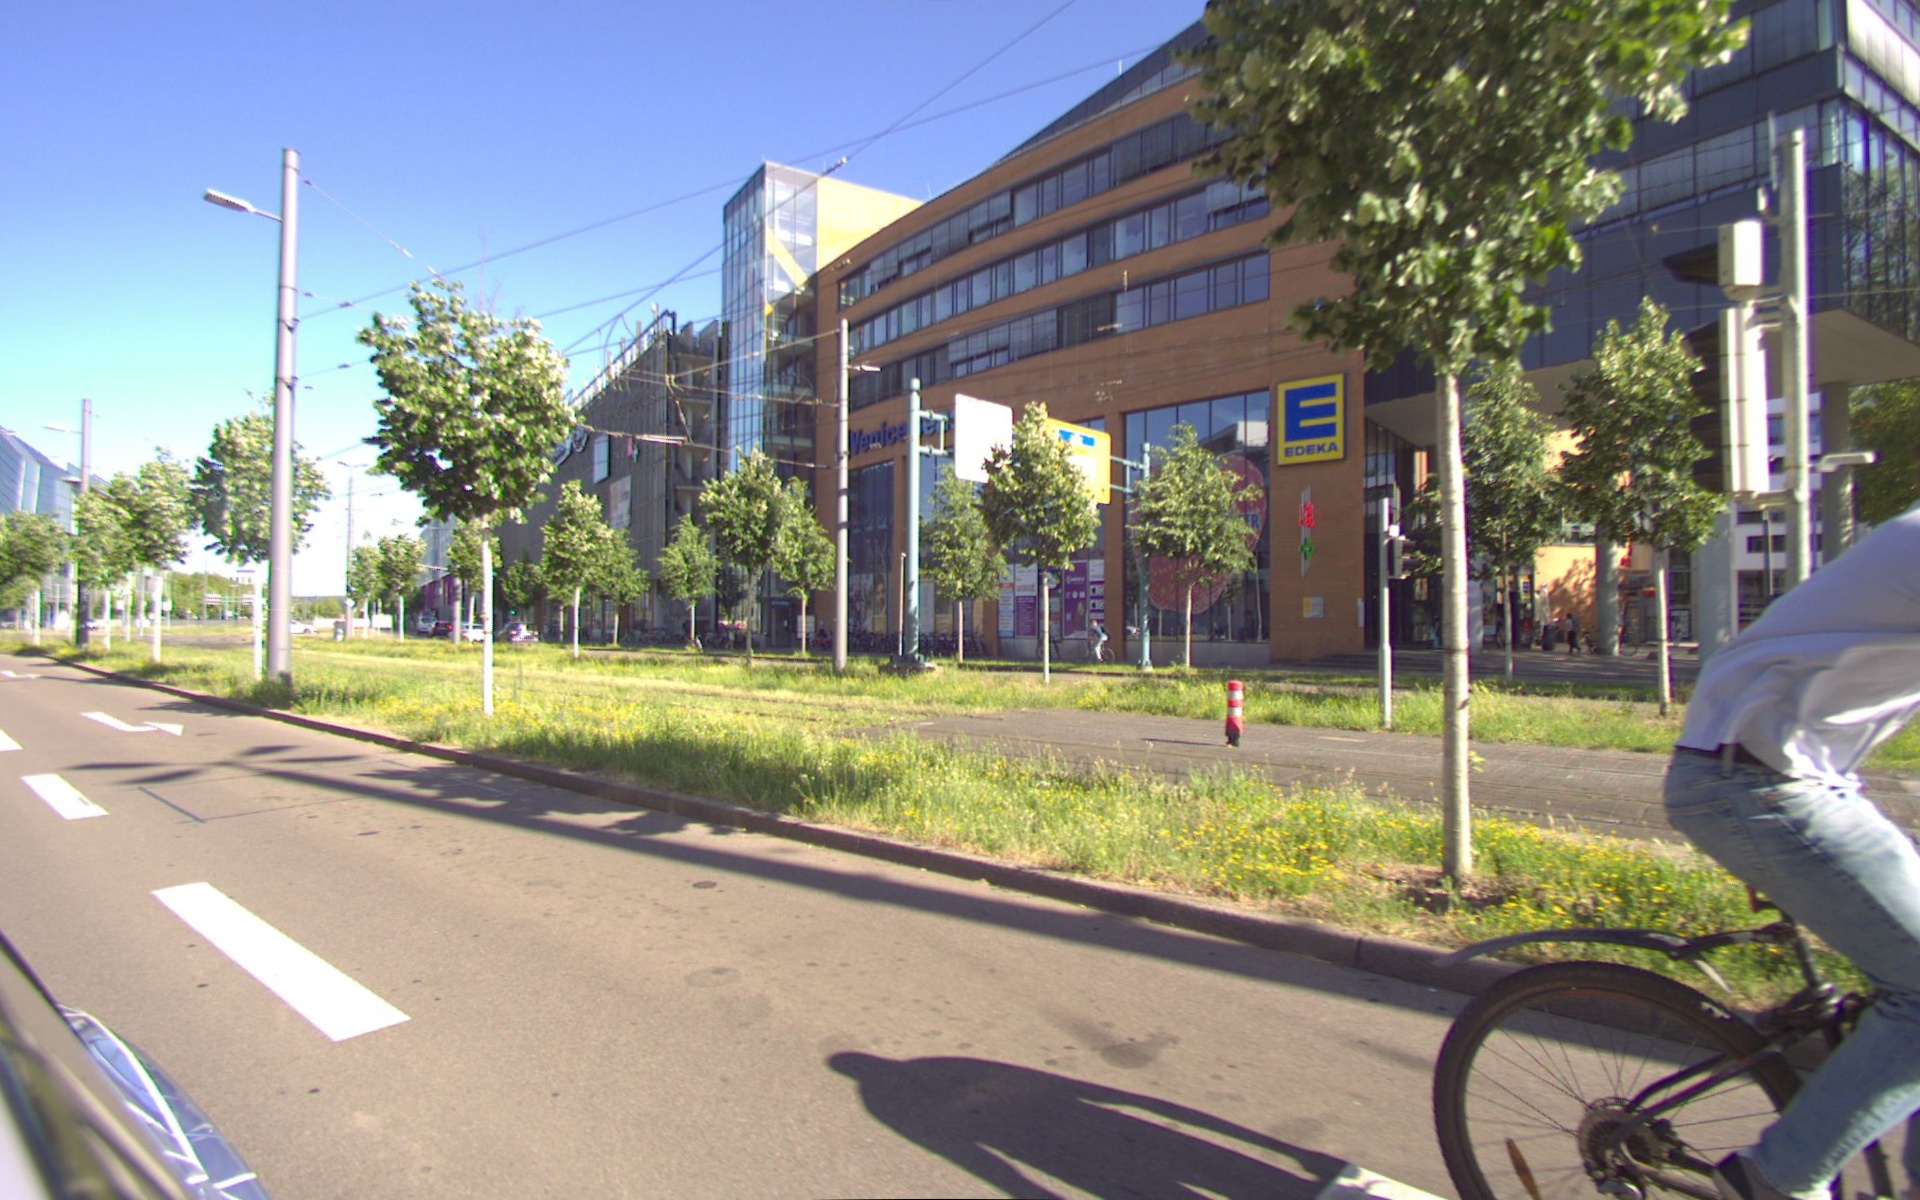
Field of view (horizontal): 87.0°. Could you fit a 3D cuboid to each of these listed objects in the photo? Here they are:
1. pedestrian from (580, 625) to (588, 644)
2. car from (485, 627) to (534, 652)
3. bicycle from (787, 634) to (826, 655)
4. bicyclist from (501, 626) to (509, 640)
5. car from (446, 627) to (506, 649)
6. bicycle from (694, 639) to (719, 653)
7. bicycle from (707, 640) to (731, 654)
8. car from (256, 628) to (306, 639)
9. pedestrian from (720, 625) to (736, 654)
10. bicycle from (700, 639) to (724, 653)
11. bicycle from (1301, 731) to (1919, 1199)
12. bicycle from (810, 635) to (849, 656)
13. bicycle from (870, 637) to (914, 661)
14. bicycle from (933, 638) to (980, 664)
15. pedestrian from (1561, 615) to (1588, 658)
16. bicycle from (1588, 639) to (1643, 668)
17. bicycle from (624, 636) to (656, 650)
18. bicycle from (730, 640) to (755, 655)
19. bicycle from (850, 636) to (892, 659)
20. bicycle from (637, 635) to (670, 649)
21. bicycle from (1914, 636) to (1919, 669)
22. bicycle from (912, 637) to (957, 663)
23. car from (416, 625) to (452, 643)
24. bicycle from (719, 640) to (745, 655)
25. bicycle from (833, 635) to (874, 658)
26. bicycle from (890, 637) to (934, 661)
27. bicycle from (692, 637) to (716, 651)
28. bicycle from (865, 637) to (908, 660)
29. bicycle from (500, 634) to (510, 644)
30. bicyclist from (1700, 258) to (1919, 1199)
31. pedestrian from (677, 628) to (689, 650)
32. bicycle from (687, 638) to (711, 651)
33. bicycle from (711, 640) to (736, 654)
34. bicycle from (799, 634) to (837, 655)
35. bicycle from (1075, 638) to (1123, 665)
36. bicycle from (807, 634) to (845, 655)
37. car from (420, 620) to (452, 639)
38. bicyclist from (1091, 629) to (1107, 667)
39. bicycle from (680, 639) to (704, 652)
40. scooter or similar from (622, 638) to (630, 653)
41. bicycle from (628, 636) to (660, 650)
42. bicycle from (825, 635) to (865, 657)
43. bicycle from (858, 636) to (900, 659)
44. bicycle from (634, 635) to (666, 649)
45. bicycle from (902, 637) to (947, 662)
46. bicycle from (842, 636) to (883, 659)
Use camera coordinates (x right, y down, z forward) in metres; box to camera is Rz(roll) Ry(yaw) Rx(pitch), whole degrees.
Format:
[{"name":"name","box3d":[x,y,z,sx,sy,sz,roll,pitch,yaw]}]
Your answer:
[{"name":"pedestrian","box3d":[-30.814,2.846,82.938,0.483,1.530,0.651,1,-2,-29]},{"name":"car","box3d":[-25.572,2.233,57.386,3.297,1.370,1.412,-1,-2,44]},{"name":"bicycle","box3d":[-9.070,2.618,59.820,2.145,1.132,0.754,0,-1,-39]},{"name":"bicyclist","box3d":[-48.650,3.524,108.090,0.584,1.418,1.316,1,-2,-32]},{"name":"car","box3d":[-31.216,2.446,65.226,4.792,1.344,1.971,-1,-2,44]},{"name":"bicycle","box3d":[-15.993,2.895,63.865,1.428,0.825,0.446,0,-1,-39]},{"name":"bicycle","box3d":[-14.812,2.881,62.205,1.428,0.825,0.446,0,-1,-39]},{"name":"car","box3d":[-67.127,3.298,100.093,3.931,1.098,2.006,1,-2,-27]},{"name":"pedestrian","box3d":[-13.576,2.321,59.152,0.778,1.698,0.589,-1,-2,43]},{"name":"bicycle","box3d":[-15.459,2.874,63.126,1.428,0.825,0.446,0,-1,-39]},{"name":"bicycle","box3d":[1.983,0.873,1.575,2.697,1.078,0.679,-1,-1,43]},{"name":"bicycle","box3d":[-7.367,2.566,57.216,2.145,1.132,0.754,0,-1,-39]},{"name":"bicycle","box3d":[-3.432,2.457,51.026,2.145,1.132,0.754,0,-1,-39]},{"name":"bicycle","box3d":[-0.152,2.359,47.052,2.145,1.132,0.754,0,-1,-39]},{"name":"pedestrian","box3d":[23.649,1.404,38.944,0.788,1.636,0.501,1,-1,42]},{"name":"bicycle","box3d":[26.622,2.148,41.106,1.802,1.143,0.487,-1,-2,41]},{"name":"bicycle","box3d":[-22.986,3.080,72.687,2.145,0.962,0.494,0,-1,-39]},{"name":"bicycle","box3d":[-12.991,2.826,60.452,1.428,0.825,0.446,0,-1,-39]},{"name":"bicycle","box3d":[-4.690,2.504,53.444,2.145,1.132,0.754,0,-1,-39]},{"name":"bicycle","box3d":[-21.567,2.955,71.222,2.145,0.962,0.494,0,-1,-39]},{"name":"bicycle","box3d":[39.629,2.159,41.222,0.463,1.363,2.349,-1,-2,27]},{"name":"bicycle","box3d":[-1.221,2.383,48.533,2.145,1.132,0.754,0,-1,-39]},{"name":"car","box3d":[-50.435,3.259,97.025,1.970,1.694,4.543,2,-2,-43]},{"name":"bicycle","box3d":[-13.746,2.845,61.034,1.428,0.825,0.446,0,-1,-39]},{"name":"bicycle","box3d":[-5.808,2.518,55.065,2.145,1.132,0.754,0,-1,-39]},{"name":"bicycle","box3d":[-2.351,2.417,50.148,2.145,1.132,0.754,0,-1,-39]},{"name":"bicycle","box3d":[-16.514,2.842,65.217,1.428,0.825,0.446,0,-1,-39]},{"name":"bicycle","box3d":[-3.781,2.471,51.854,2.145,1.132,0.754,0,-1,-39]},{"name":"bicycle","box3d":[-48.677,4.135,108.174,0.588,1.018,2.576,1,-2,-32]},{"name":"bicyclist","box3d":[1.887,0.300,1.645,1.019,1.682,0.611,-1,-1,42]},{"name":"pedestrian","box3d":[-19.446,2.749,71.051,0.626,1.565,0.664,1,-2,-27]},{"name":"bicycle","box3d":[-16.893,2.889,65.553,1.428,0.825,0.446,0,-1,-39]},{"name":"bicycle","box3d":[-14.404,2.872,61.735,1.428,0.825,0.446,0,-1,-39]},{"name":"bicycle","box3d":[-8.304,2.611,59.252,2.145,1.132,0.754,0,-1,-39]},{"name":"bicycle","box3d":[5.190,1.918,37.905,1.894,0.933,0.349,1,-1,41]},{"name":"bicycle","box3d":[-7.721,2.566,58.362,2.145,1.132,0.754,0,-1,-39]},{"name":"car","box3d":[-58.963,3.290,113.974,2.190,2.029,5.271,0,-1,-16]},{"name":"bicyclist","box3d":[5.198,1.780,37.900,0.481,1.387,0.337,1,-1,41]},{"name":"bicycle","box3d":[-17.511,2.968,66.189,1.428,0.825,0.446,0,-1,-39]},{"name":"scooter or similar","box3d":[-26.106,3.549,79.128,0.272,1.111,1.209,1,-1,-31]},{"name":"bicycle","box3d":[-22.551,3.072,72.249,2.145,0.962,0.494,0,-1,-39]},{"name":"bicycle","box3d":[-6.354,2.553,55.922,2.145,1.132,0.754,0,-1,-39]},{"name":"bicycle","box3d":[-4.211,2.469,52.725,2.145,1.132,0.754,0,-1,-39]},{"name":"bicycle","box3d":[-22.011,2.961,71.784,2.145,0.962,0.494,0,-1,-39]},{"name":"bicycle","box3d":[-1.712,2.409,49.350,2.145,1.132,0.754,0,-1,-39]},{"name":"bicycle","box3d":[-5.203,2.524,54.215,2.145,1.132,0.754,0,-1,-39]}]
